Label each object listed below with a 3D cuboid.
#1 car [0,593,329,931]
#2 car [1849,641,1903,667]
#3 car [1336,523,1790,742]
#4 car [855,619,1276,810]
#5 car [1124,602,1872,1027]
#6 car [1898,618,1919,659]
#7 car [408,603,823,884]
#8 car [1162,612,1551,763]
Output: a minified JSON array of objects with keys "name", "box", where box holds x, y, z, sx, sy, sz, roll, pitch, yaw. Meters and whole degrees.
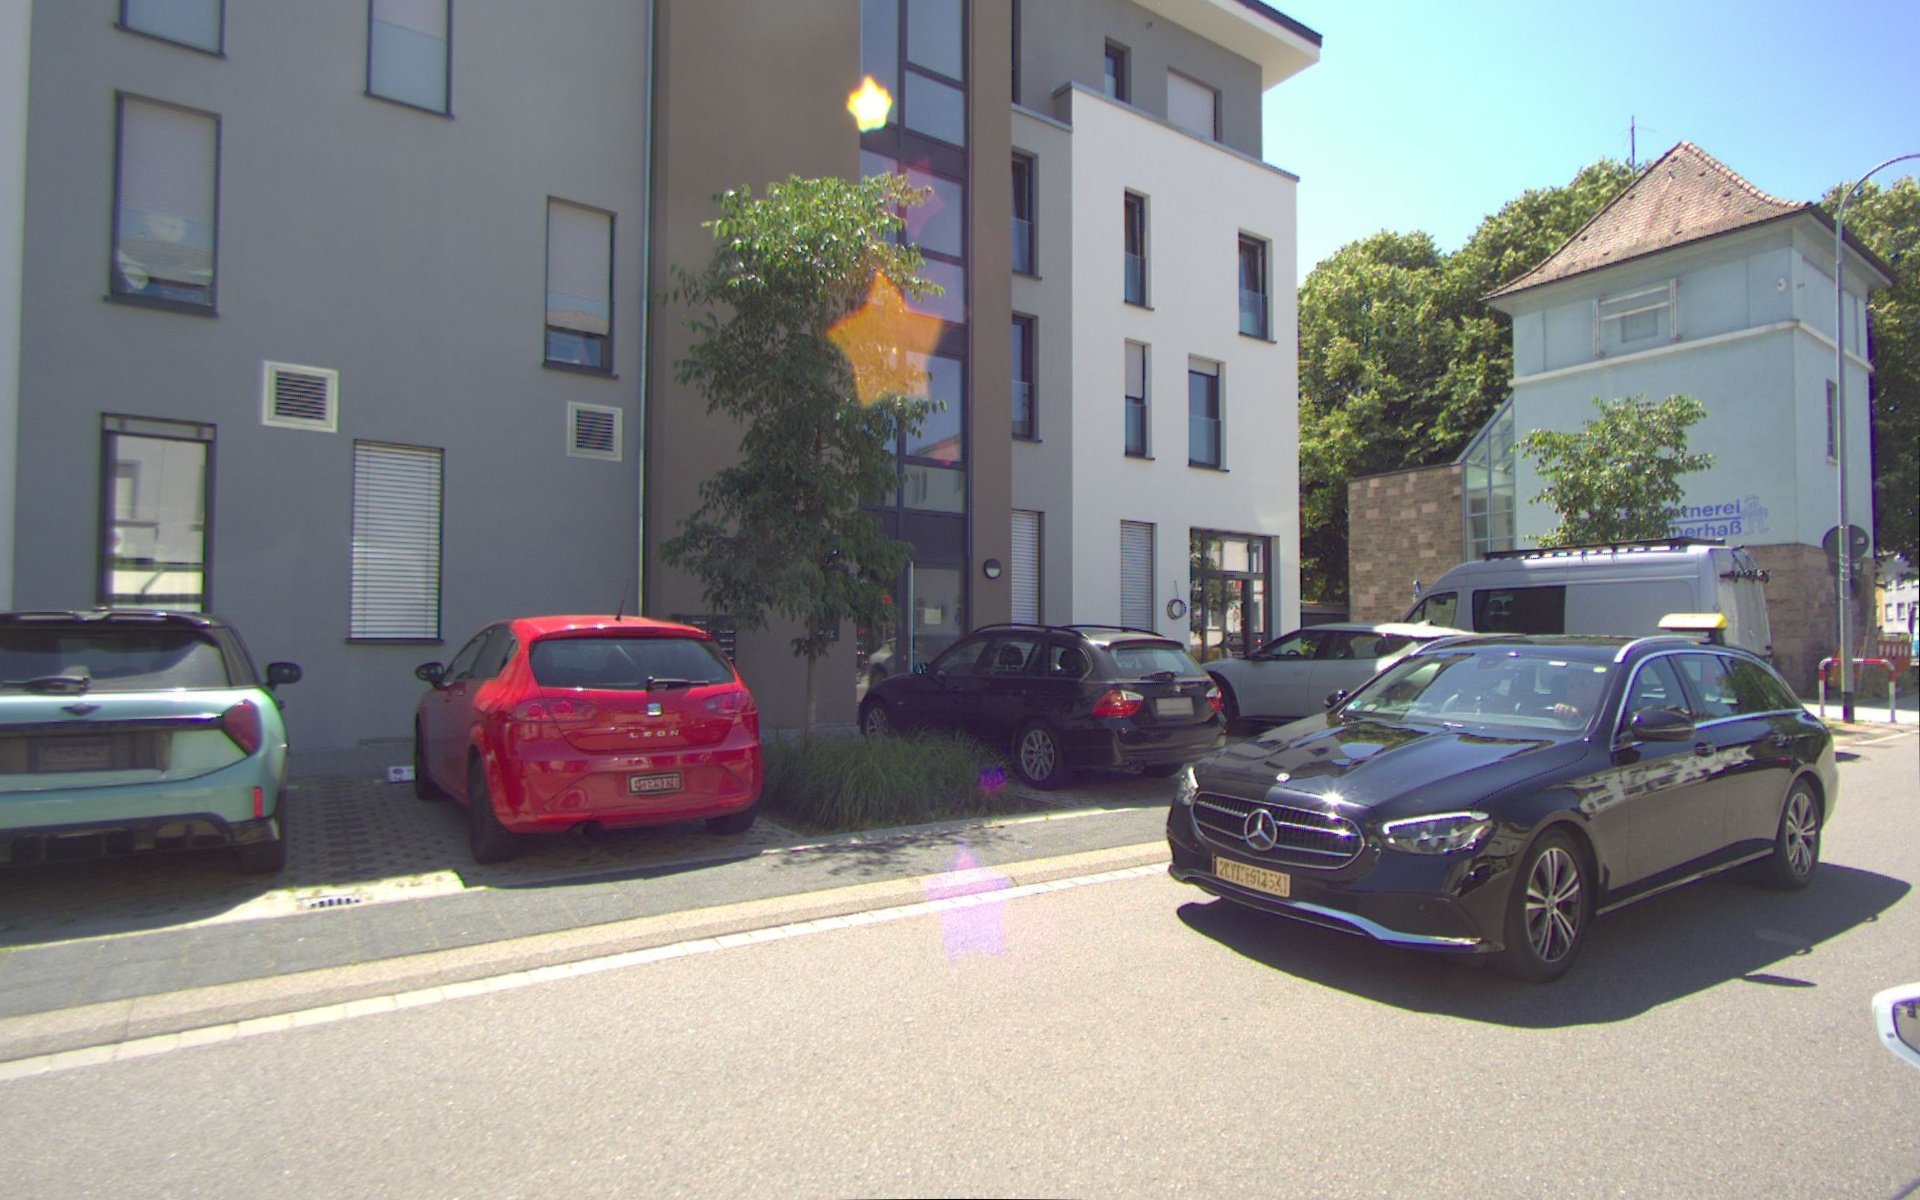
[{"name":"car","box":[-5.293,0.750,6.281,1.981,1.516,4.004,2,-2,-36]},{"name":"car","box":[67.615,3.953,74.213,1.964,1.769,4.321,-1,-2,30]},{"name":"car","box":[9.068,0.471,15.774,2.267,2.768,5.734,2,-1,-33]},{"name":"car","box":[0.843,0.961,10.138,1.869,1.456,4.168,2,-2,-38]},{"name":"car","box":[3.345,0.845,5.860,4.749,1.574,1.882,1,-1,-34]},{"name":"car","box":[62.440,2.499,64.551,2.102,2.574,4.640,-1,-3,31]},{"name":"car","box":[-2.785,0.790,7.437,1.979,1.449,4.009,2,-2,-33]},{"name":"car","box":[4.956,0.995,13.187,1.979,1.612,4.426,2,-2,-34]}]
